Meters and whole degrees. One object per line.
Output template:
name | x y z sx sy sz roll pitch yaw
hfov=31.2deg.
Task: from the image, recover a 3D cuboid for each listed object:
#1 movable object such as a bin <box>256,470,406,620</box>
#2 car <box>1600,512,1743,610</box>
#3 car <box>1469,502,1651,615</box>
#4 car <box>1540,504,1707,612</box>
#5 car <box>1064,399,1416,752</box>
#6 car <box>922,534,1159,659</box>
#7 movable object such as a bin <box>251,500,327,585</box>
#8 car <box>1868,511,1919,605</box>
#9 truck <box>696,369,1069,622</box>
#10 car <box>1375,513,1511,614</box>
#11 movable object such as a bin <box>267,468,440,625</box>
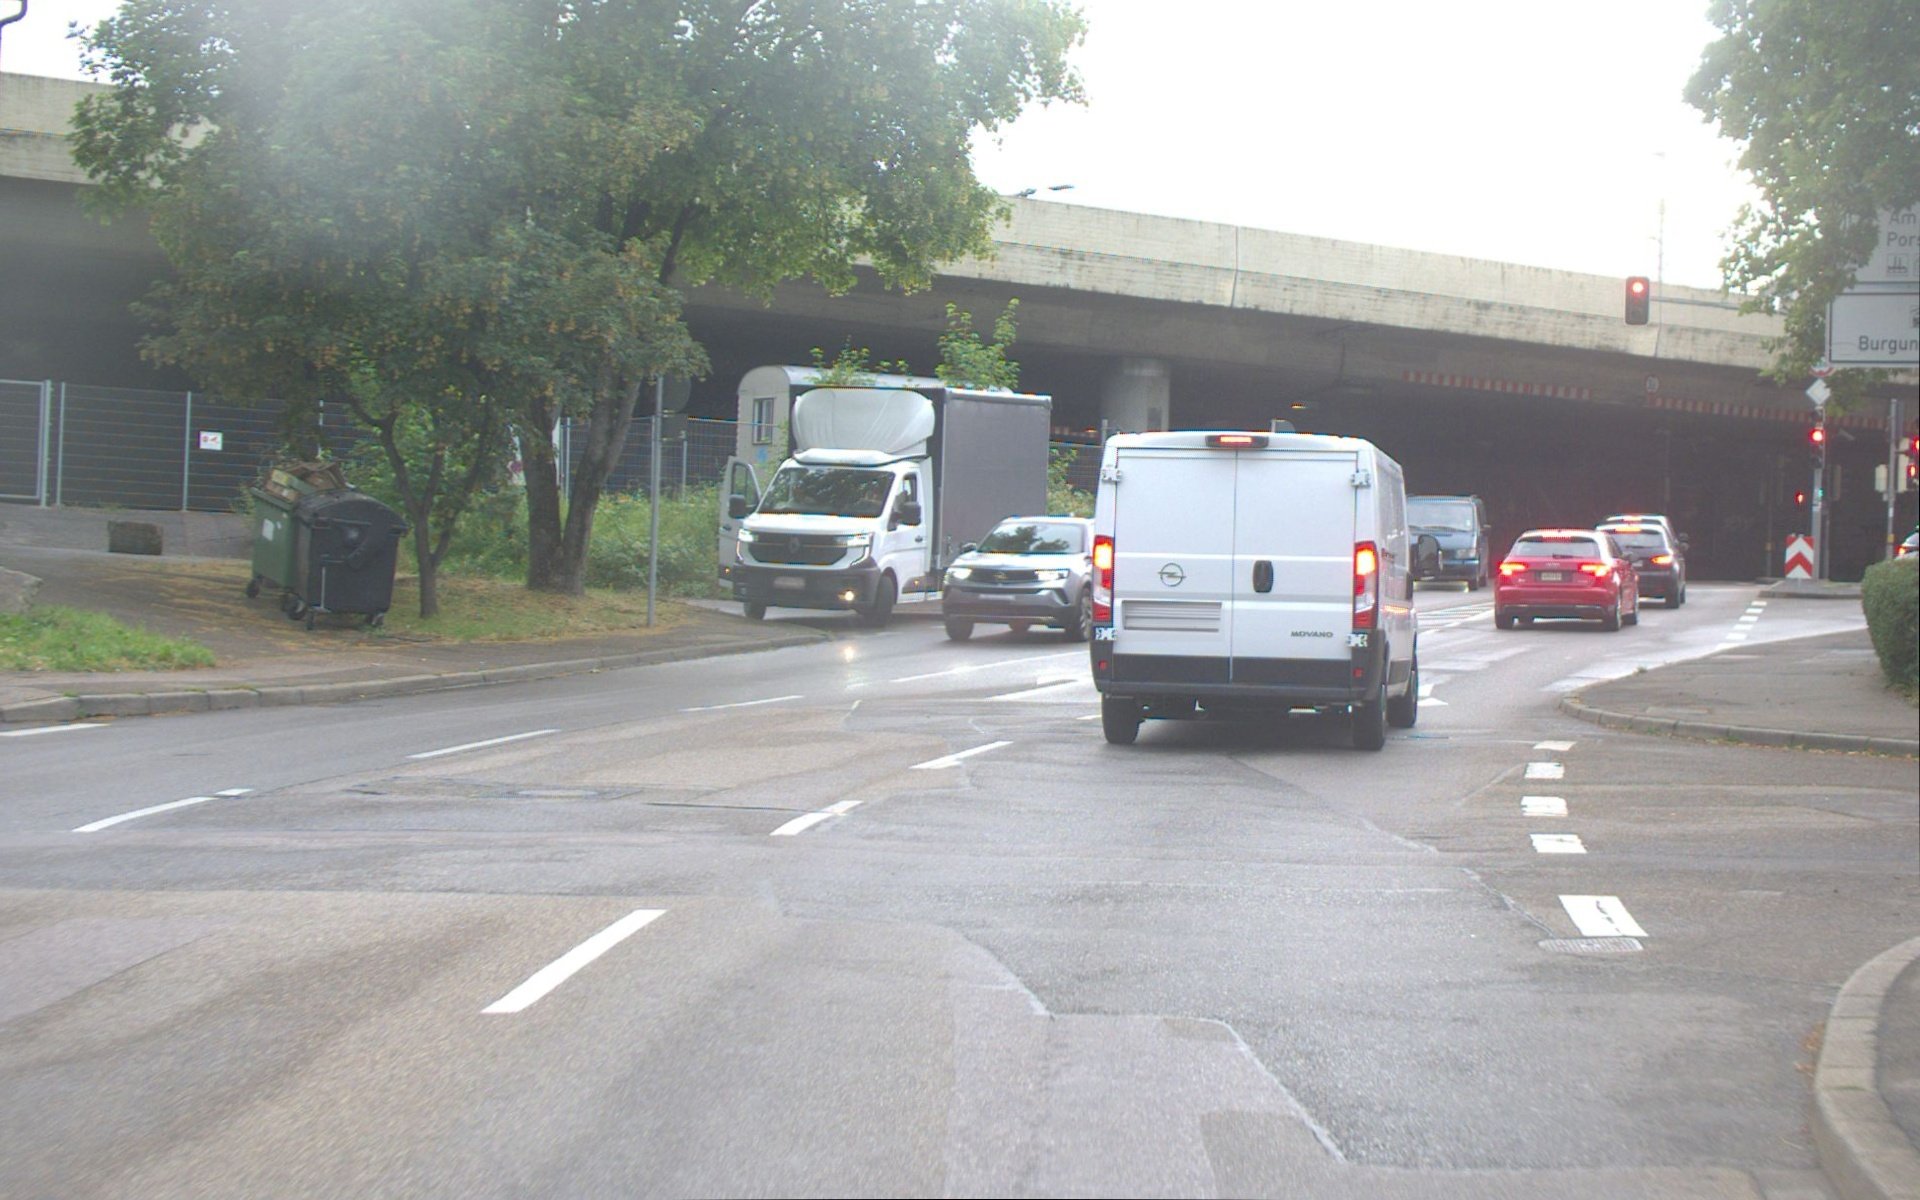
movable object such as a bin | -7.028 -0.625 38.379 1.097 1.432 1.463 4 5 -30
car | 13.389 -0.723 64.553 1.996 1.723 3.996 2 1 20
car | 8.719 -0.589 49.727 1.995 1.508 3.996 2 1 18
car | 11.343 -0.699 58.555 1.996 1.723 3.995 2 1 22
car | 2.259 -0.260 26.213 2.306 2.335 5.281 2 2 8
car | 1.068 -0.081 43.426 1.896 1.456 3.997 2 1 18
movable object such as a bin | -7.747 -0.666 39.728 0.557 0.954 0.723 2 1 18
car | 17.289 -0.676 59.223 1.997 1.544 3.992 3 1 33
truck | -0.922 -1.438 48.543 2.613 3.225 7.769 2 2 19
car | 9.796 -0.750 69.476 1.959 1.924 4.680 2 1 17
movable object such as a bin | -6.533 -0.577 36.986 1.290 1.432 1.463 4 5 -30
